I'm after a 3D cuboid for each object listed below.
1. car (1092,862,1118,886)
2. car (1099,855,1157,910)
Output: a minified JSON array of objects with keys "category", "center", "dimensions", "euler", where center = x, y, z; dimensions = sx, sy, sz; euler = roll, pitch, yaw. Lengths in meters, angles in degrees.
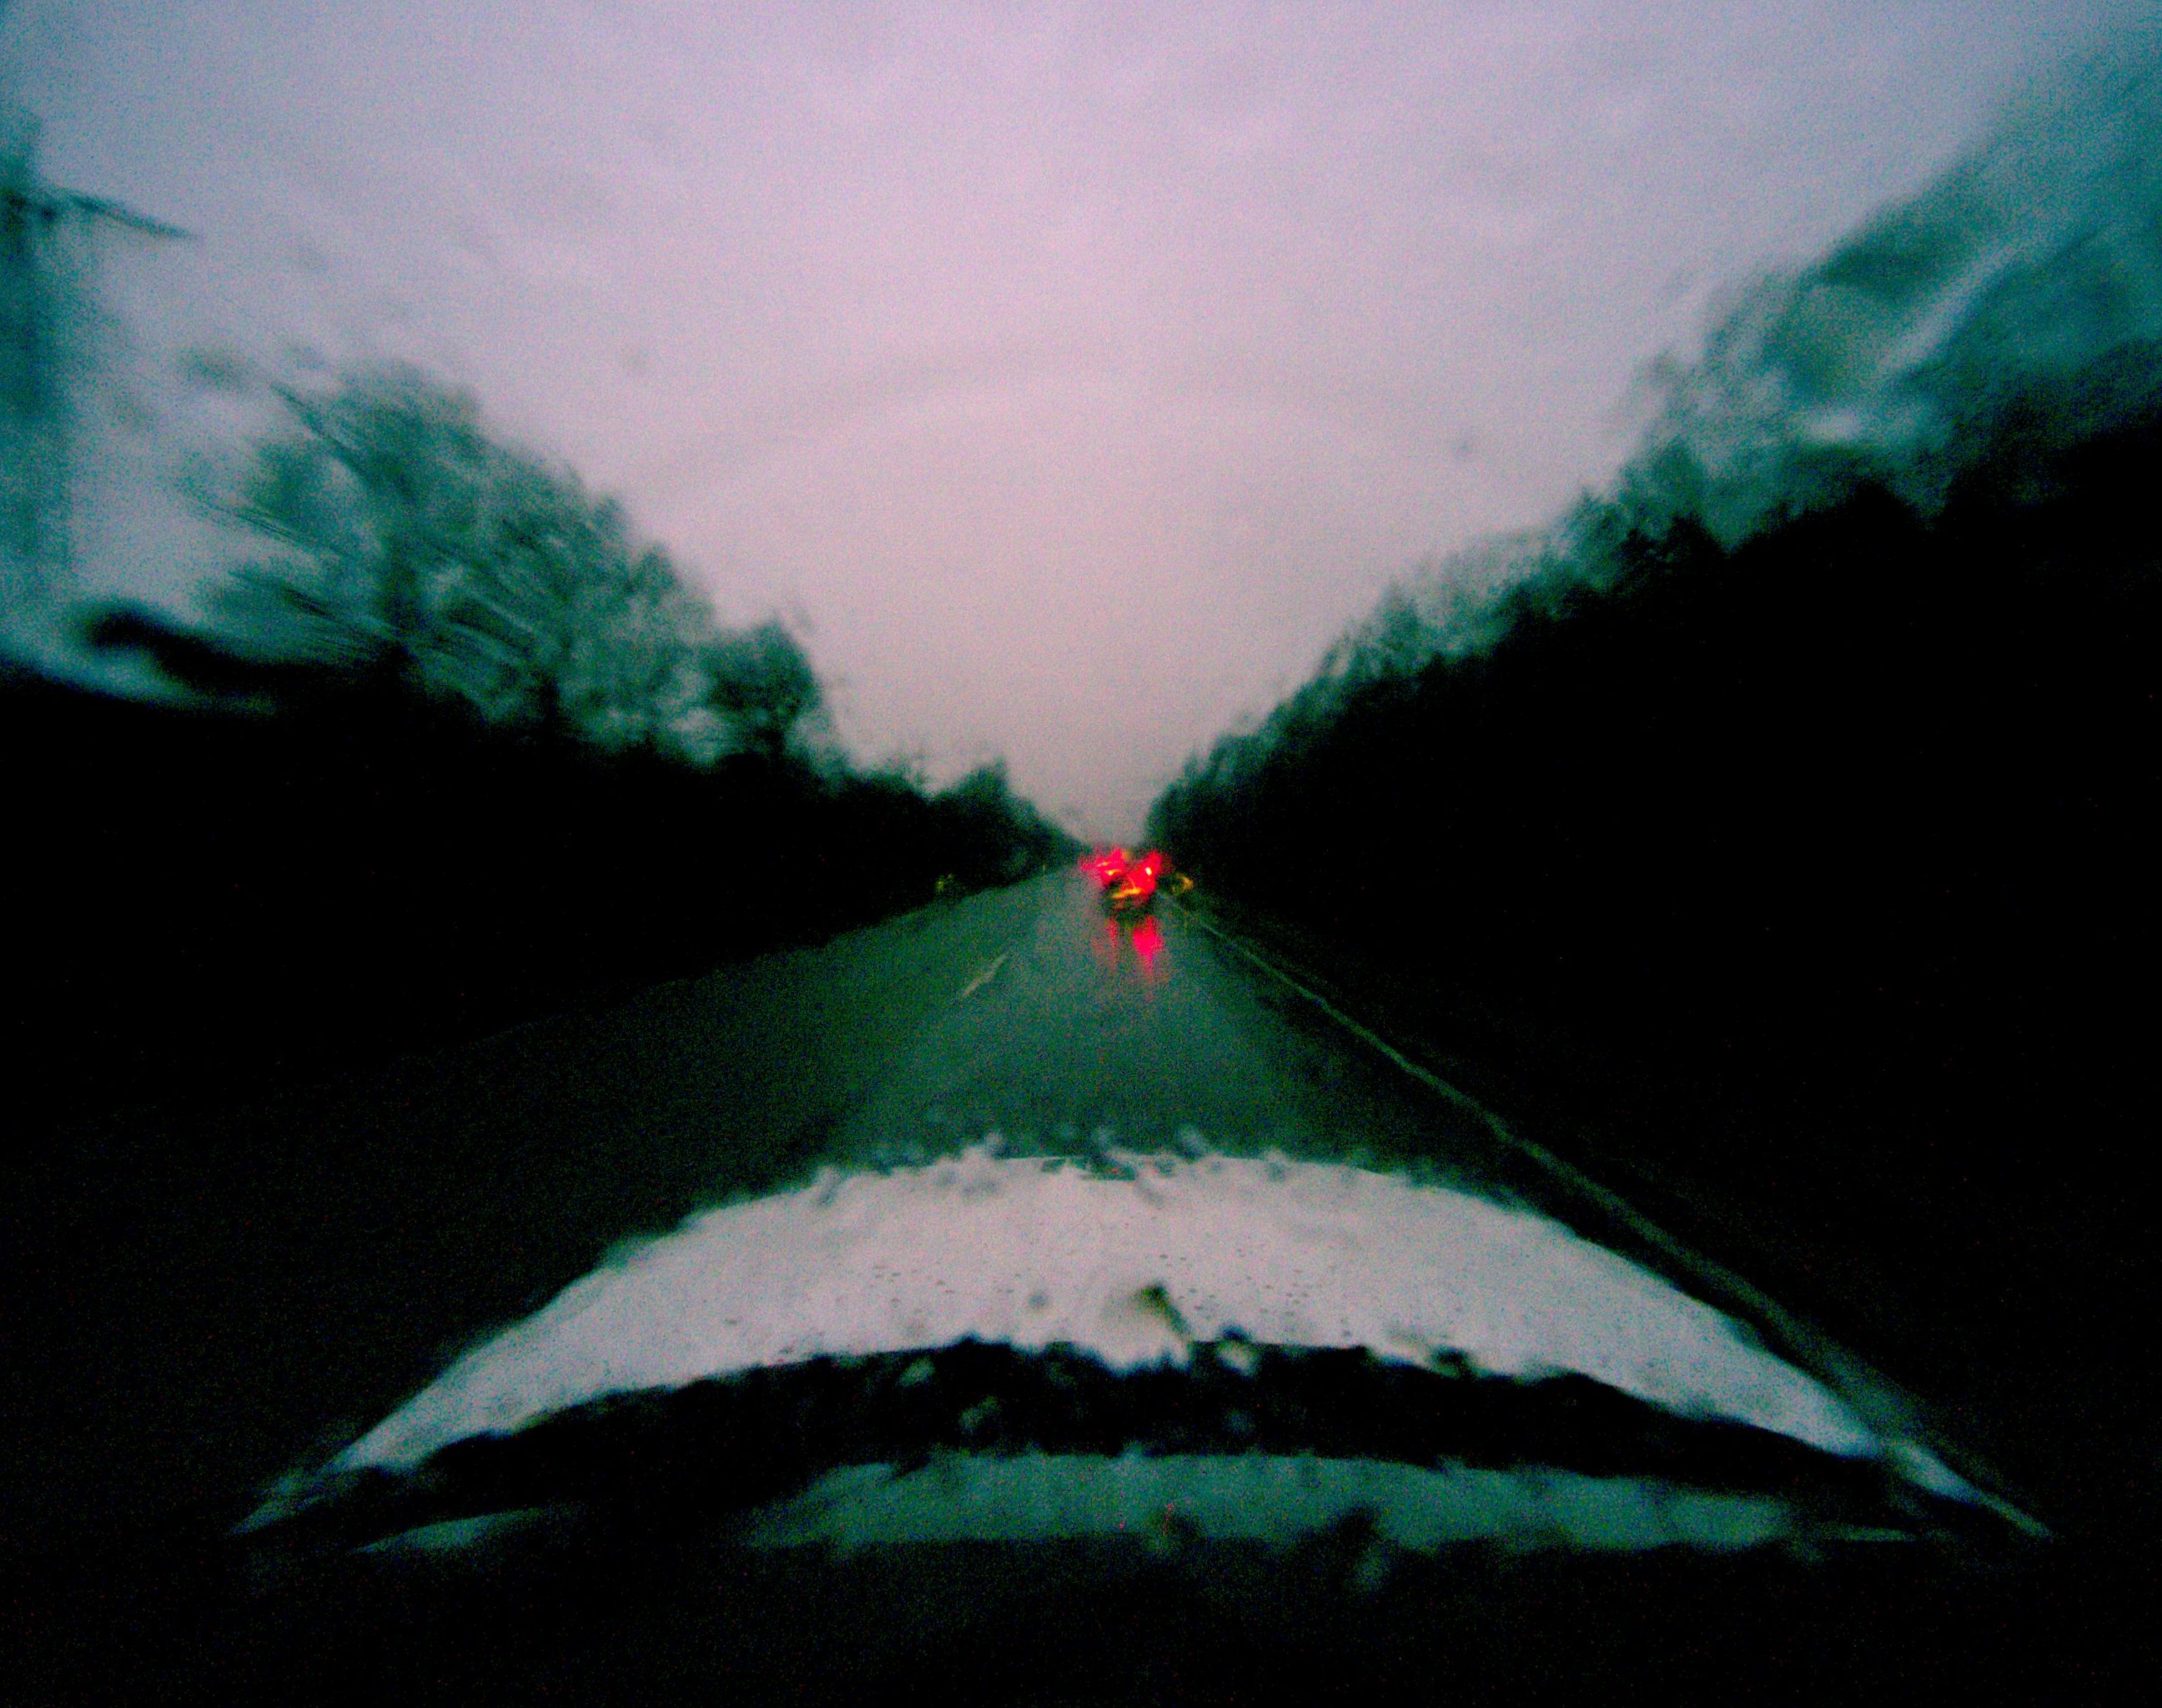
[{"category":"car","center":[1.792,1.437,59.870],"dimensions":[1.720,1.643,4.003],"euler":[-1,-1,3]},{"category":"car","center":[1.528,0.891,26.493],"dimensions":[1.720,1.643,4.003],"euler":[-1,-1,3]}]
